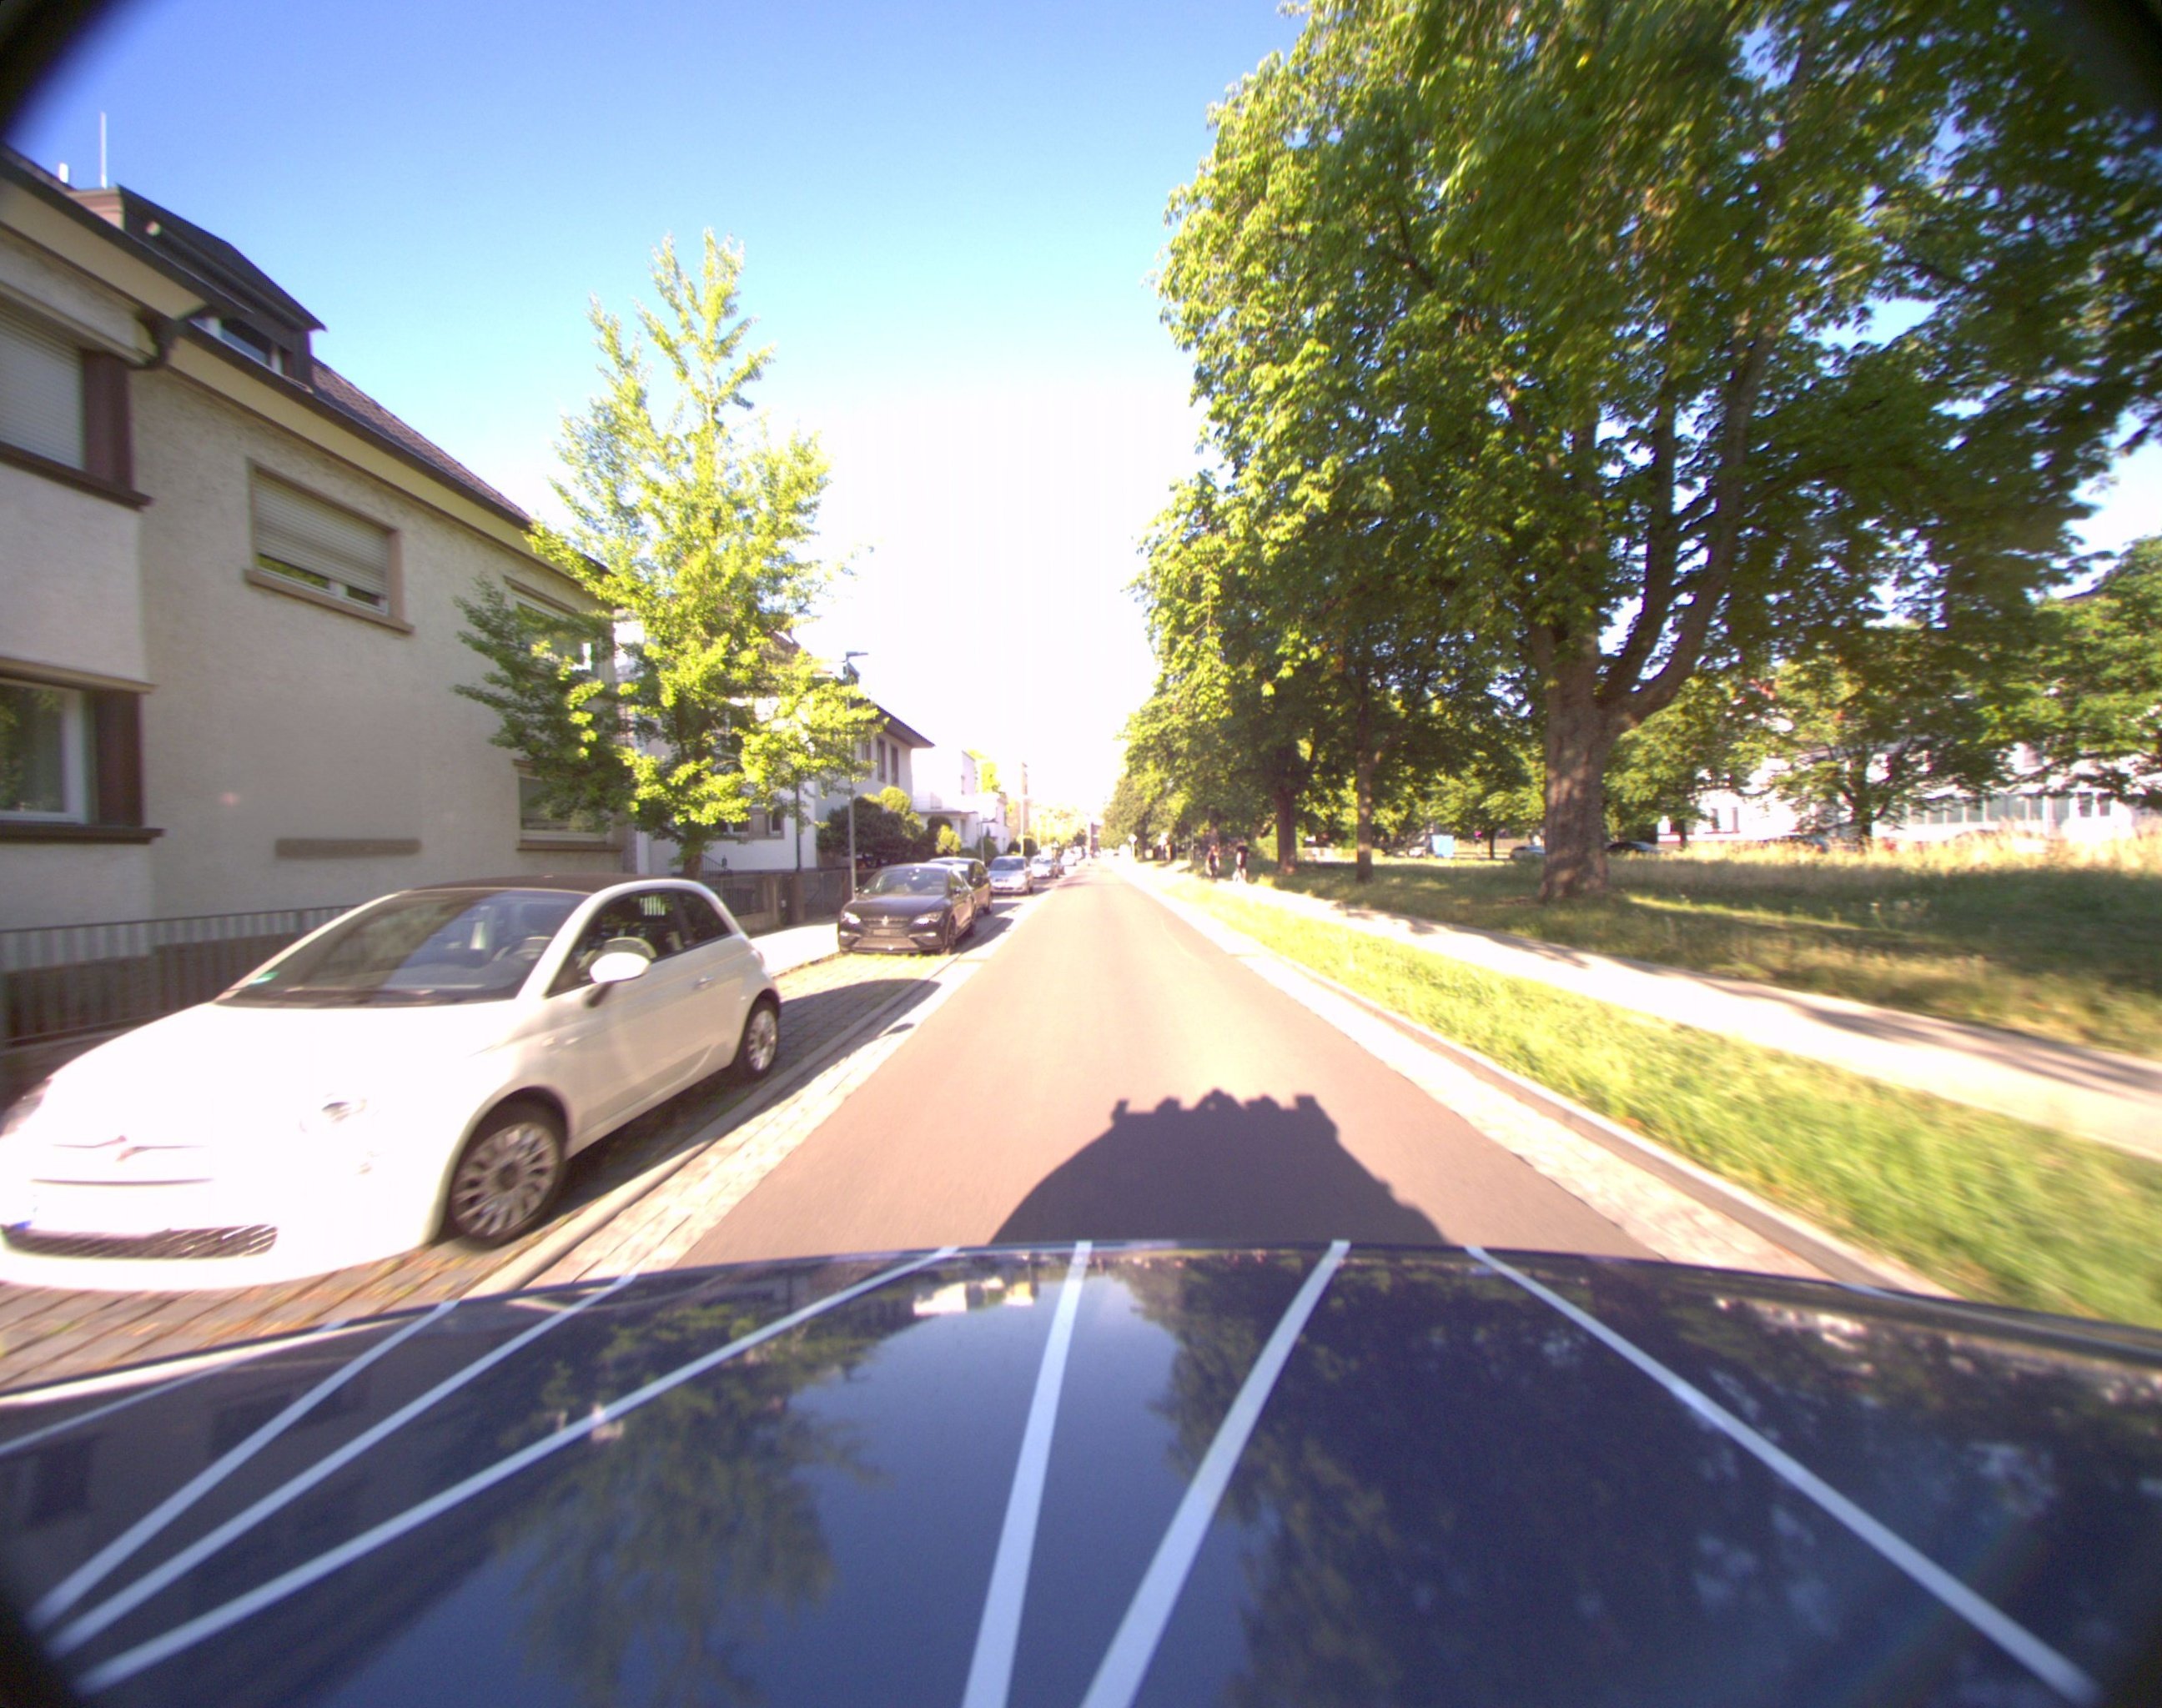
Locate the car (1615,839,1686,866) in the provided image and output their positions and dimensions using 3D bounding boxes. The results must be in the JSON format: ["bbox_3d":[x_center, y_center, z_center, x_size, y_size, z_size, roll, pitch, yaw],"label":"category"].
[{"bbox_3d":[38.140,-0.122,51.034,1.766,1.619,4.000,-3,0,1],"label":"car"}]

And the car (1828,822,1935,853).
[{"bbox_3d":[42.896,-0.889,40.830,1.767,1.471,3.795,-3,1,1],"label":"car"}]

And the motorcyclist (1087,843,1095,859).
[{"bbox_3d":[1.259,-0.415,98.625,0.961,2.002,1.273,-3,1,0],"label":"motorcyclist"}]

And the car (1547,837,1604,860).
[{"bbox_3d":[38.302,-0.398,58.988,1.766,1.619,4.000,-3,0,1],"label":"car"}]

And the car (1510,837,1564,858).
[{"bbox_3d":[38.409,-0.571,64.172,1.873,1.619,4.426,-3,0,1],"label":"car"}]

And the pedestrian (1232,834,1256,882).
[{"bbox_3d":[6.486,0.156,30.286,0.625,1.841,0.606,-2,2,40],"label":"pedestrian"}]

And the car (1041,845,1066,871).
[{"bbox_3d":[-2.411,0.327,66.644,1.844,2.196,3.764,-2,0,2],"label":"car"}]

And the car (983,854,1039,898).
[{"bbox_3d":[-2.694,0.815,29.989,1.665,1.526,3.833,-1,1,2],"label":"car"}]

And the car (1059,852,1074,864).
[{"bbox_3d":[-1.816,0.470,97.396,1.844,1.471,3.763,-2,0,0],"label":"car"}]

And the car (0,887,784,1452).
[{"bbox_3d":[-3.036,1.001,3.956,1.508,1.471,3.492,-1,0,1],"label":"car"}]

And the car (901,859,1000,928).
[{"bbox_3d":[-3.192,0.916,19.320,1.665,1.471,3.764,-2,0,2],"label":"car"}]

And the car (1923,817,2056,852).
[{"bbox_3d":[42.966,-0.919,36.058,1.767,1.471,3.795,-3,1,1],"label":"car"}]

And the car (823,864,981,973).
[{"bbox_3d":[-2.917,0.981,13.282,1.745,1.471,4.056,-2,0,0],"label":"car"}]

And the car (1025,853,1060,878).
[{"bbox_3d":[-2.469,0.686,49.425,1.844,1.471,3.764,-2,0,3],"label":"car"}]

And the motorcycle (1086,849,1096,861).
[{"bbox_3d":[1.287,0.134,98.718,1.077,1.373,2.463,-3,1,0],"label":"motorcycle"}]

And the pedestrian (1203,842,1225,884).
[{"bbox_3d":[5.307,0.359,30.260,0.625,1.621,0.606,-2,2,27],"label":"pedestrian"}]
